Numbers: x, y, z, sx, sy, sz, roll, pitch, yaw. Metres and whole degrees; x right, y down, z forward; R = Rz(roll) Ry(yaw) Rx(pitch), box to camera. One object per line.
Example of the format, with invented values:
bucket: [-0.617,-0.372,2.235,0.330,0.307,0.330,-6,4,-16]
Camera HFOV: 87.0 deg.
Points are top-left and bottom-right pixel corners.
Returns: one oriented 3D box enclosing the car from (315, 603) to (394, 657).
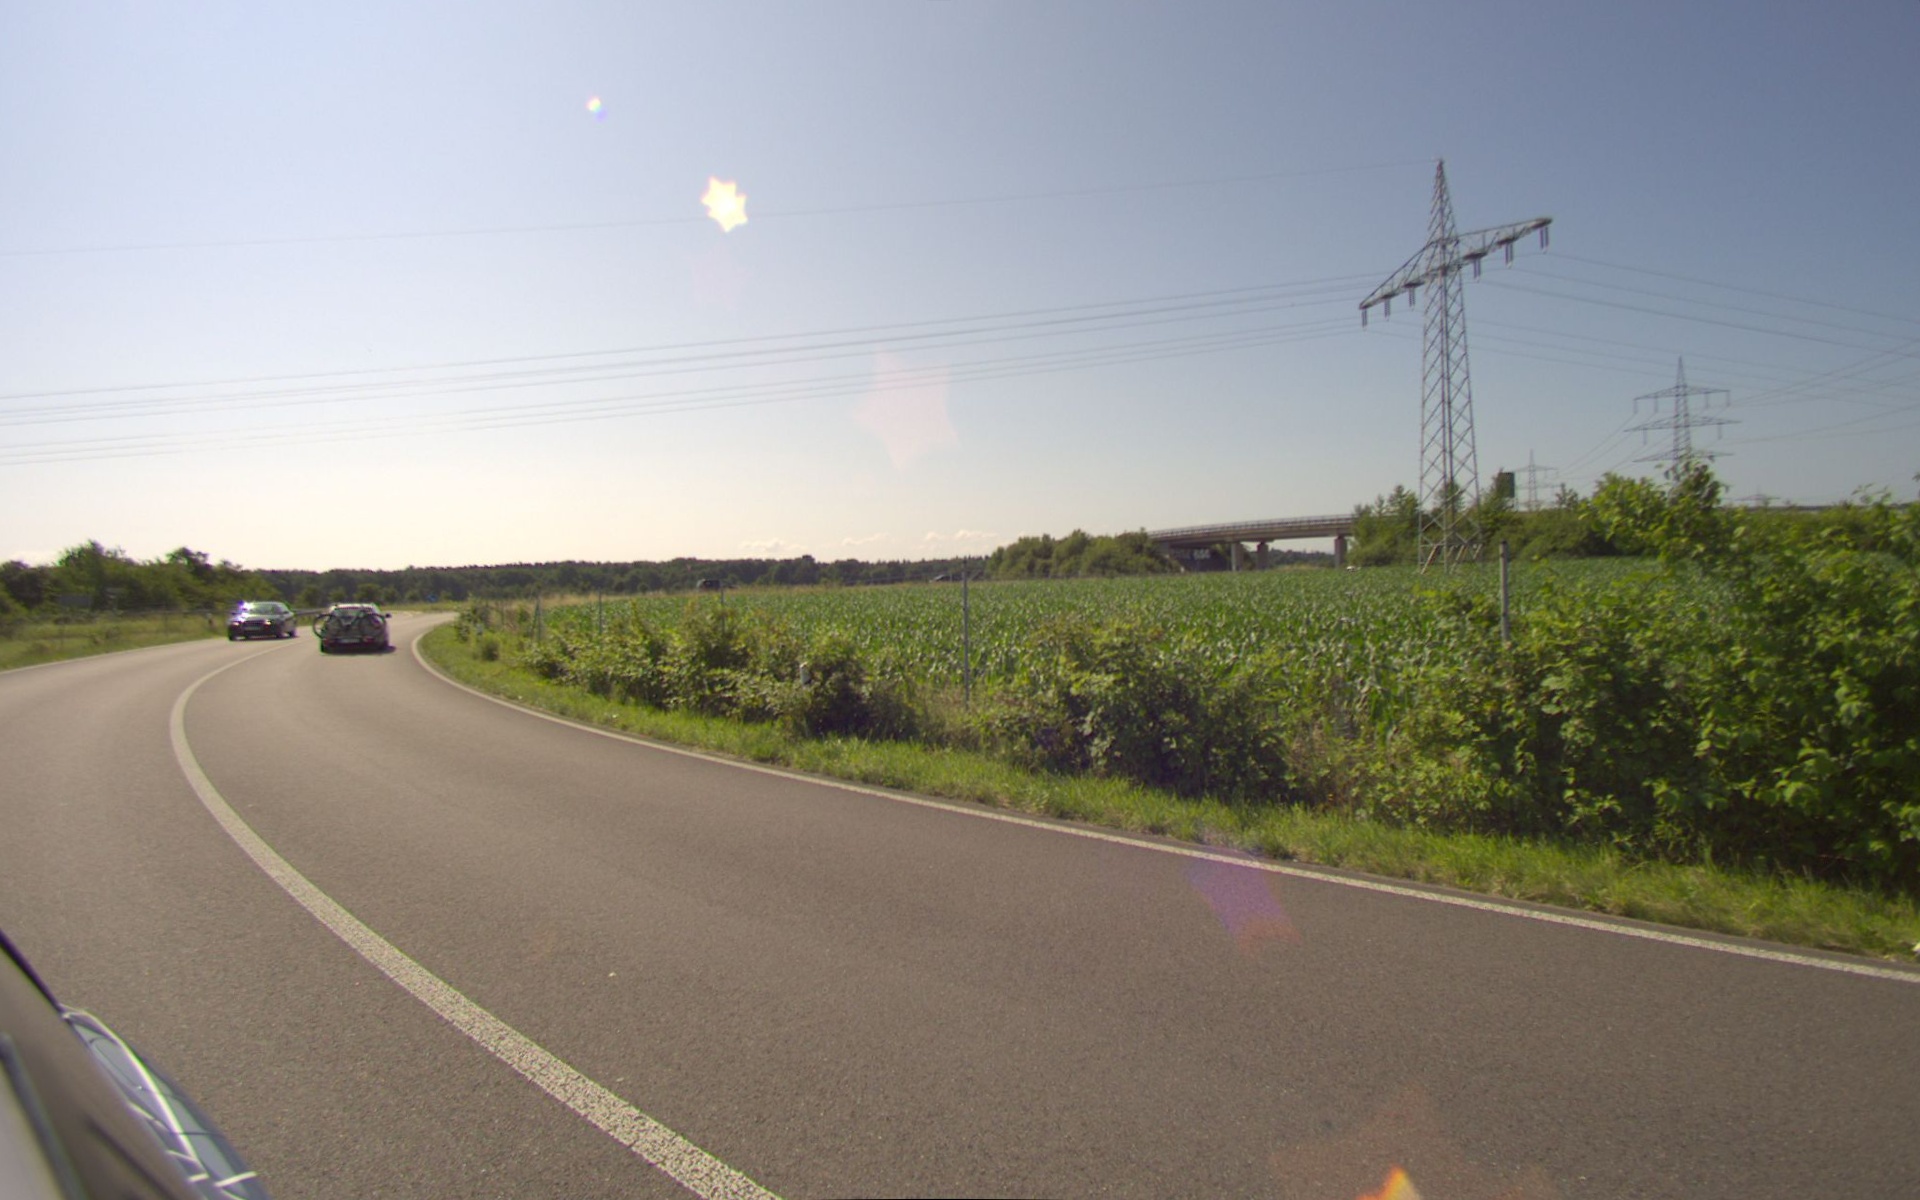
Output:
car: [-18.723,0.893,31.463,1.840,1.492,5.152,2,0,-28]

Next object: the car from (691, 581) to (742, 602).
car: [-22.467,-0.799,93.465,1.989,1.719,4.204,1,3,40]

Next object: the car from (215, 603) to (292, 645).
car: [-27.239,0.875,39.135,1.855,1.467,4.089,-2,1,-27]
